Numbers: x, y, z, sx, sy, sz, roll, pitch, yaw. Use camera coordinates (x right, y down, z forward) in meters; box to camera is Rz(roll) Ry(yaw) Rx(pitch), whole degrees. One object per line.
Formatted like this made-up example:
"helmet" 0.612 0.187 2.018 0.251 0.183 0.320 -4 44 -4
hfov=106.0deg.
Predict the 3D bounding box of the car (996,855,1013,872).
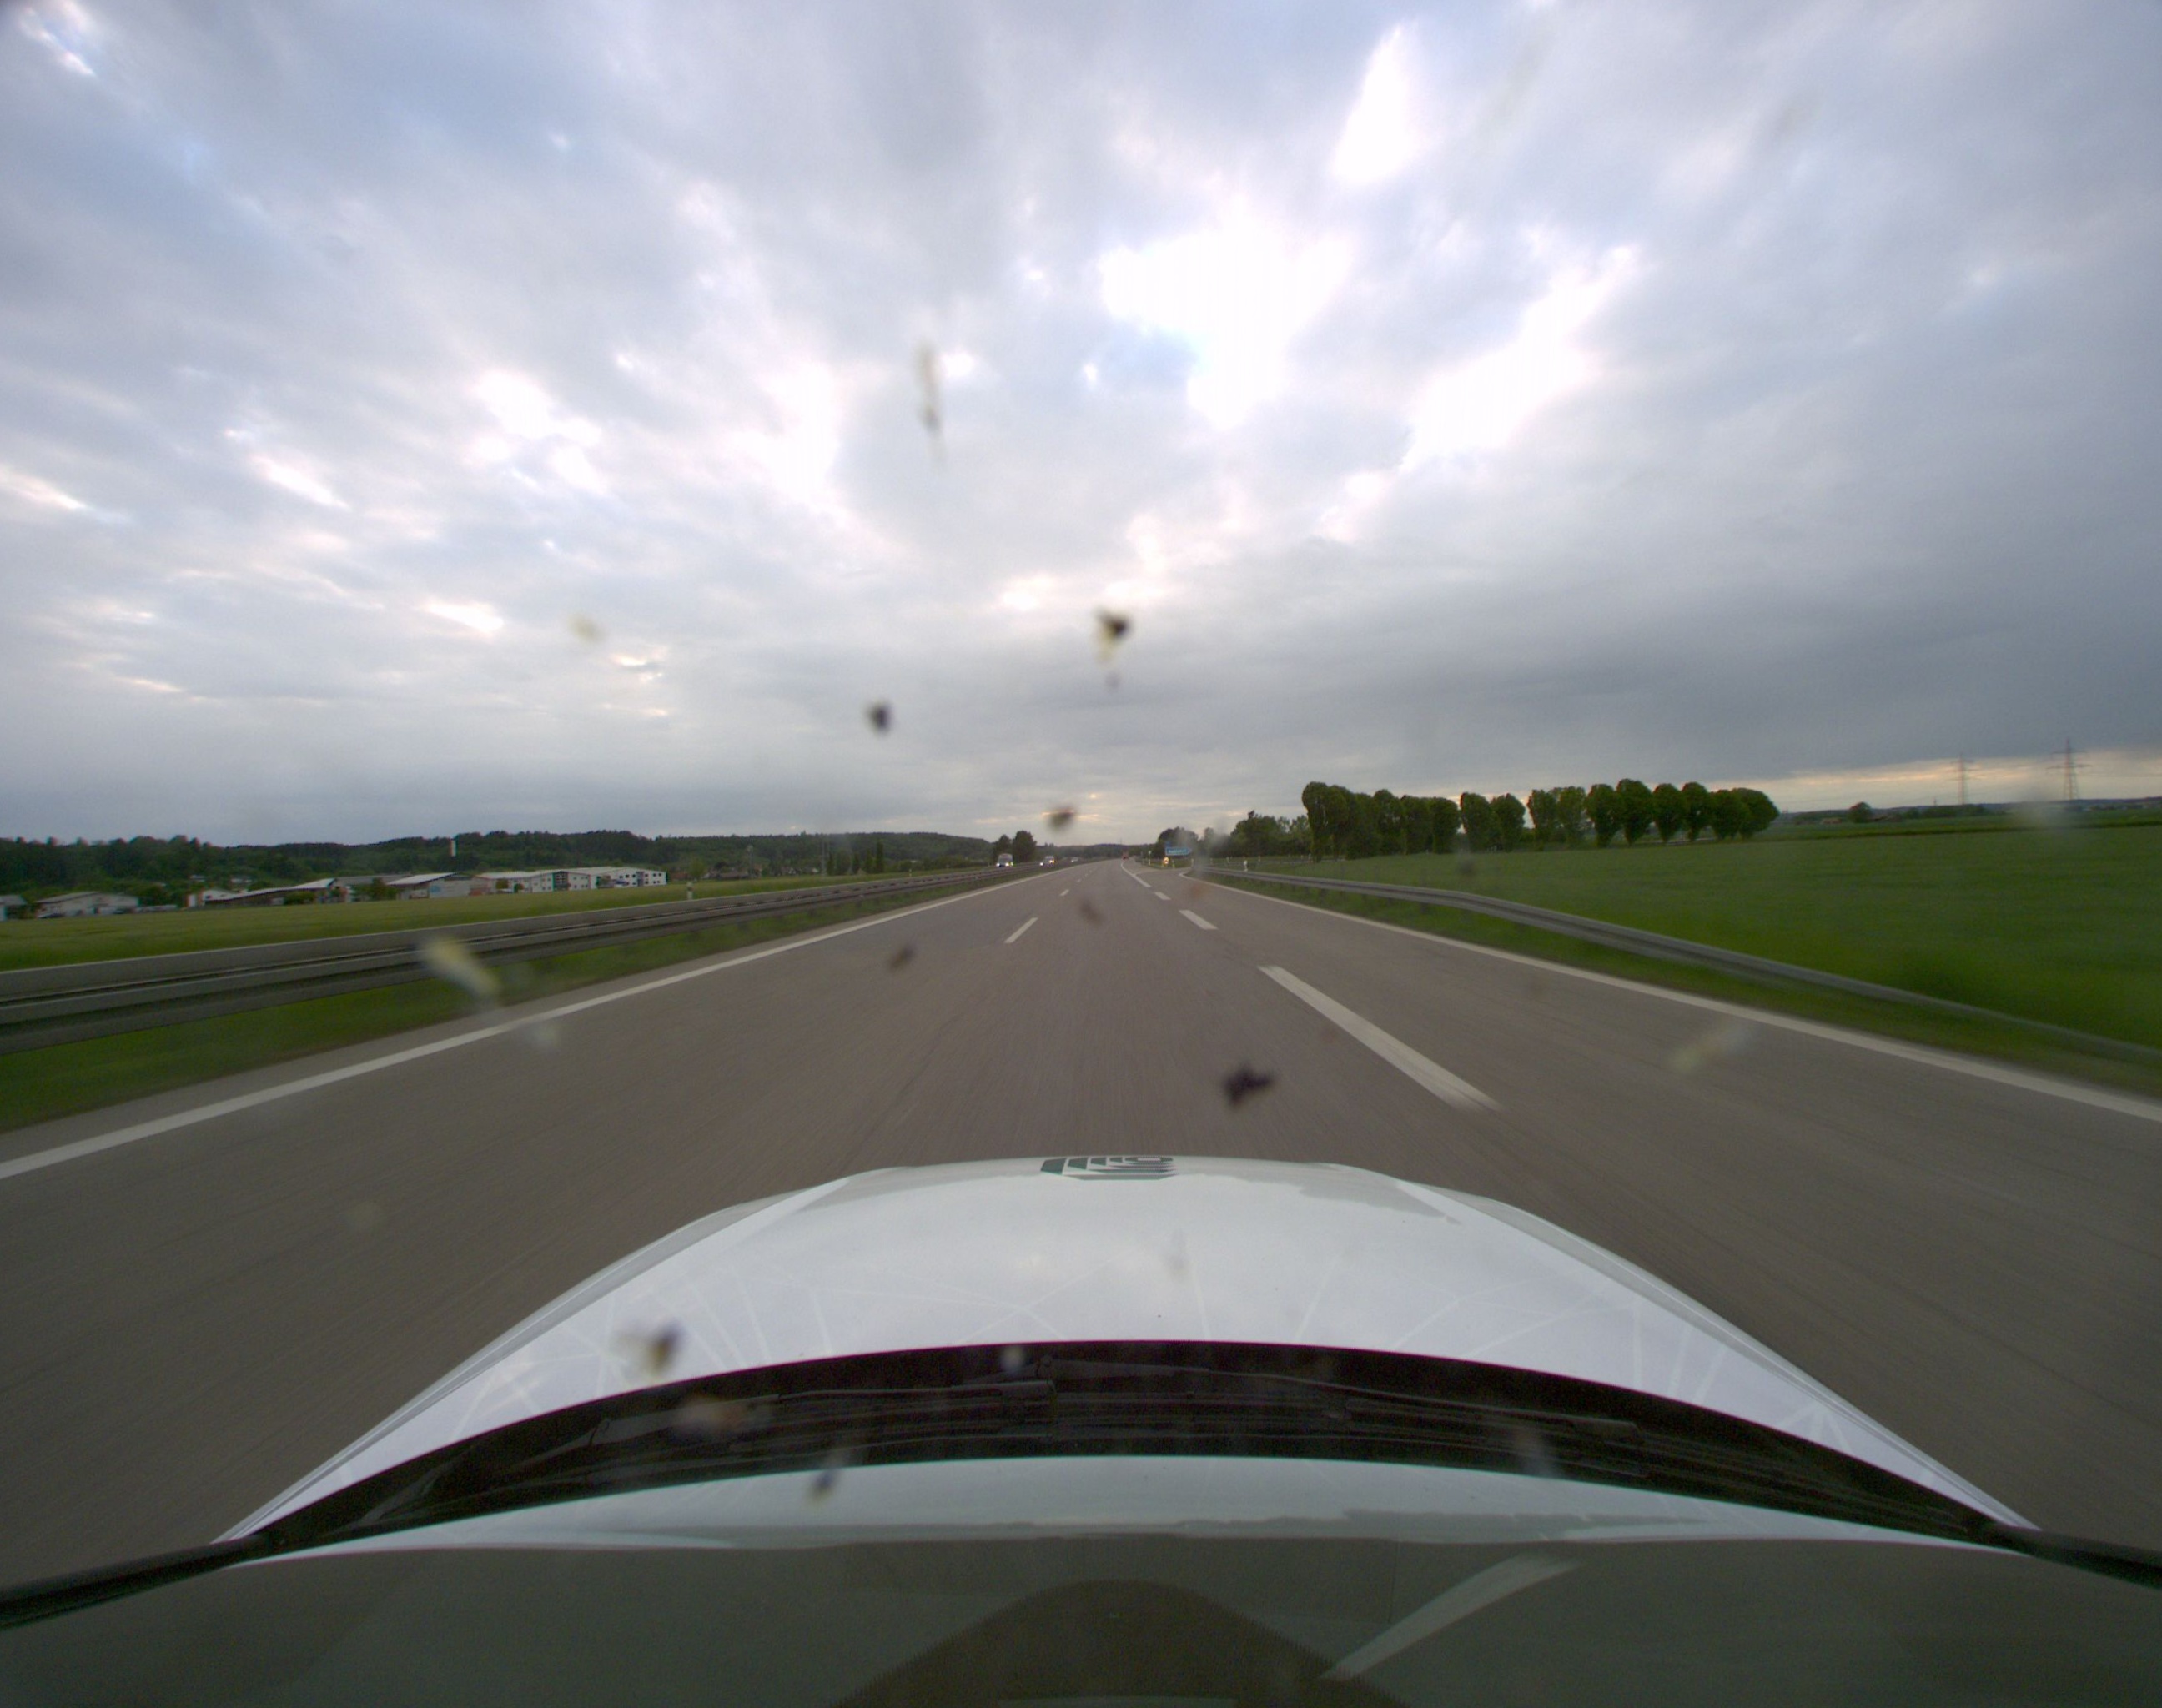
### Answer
"car" -12.729 1.613 135.931 2.097 2.801 6.430 -1 0 2
